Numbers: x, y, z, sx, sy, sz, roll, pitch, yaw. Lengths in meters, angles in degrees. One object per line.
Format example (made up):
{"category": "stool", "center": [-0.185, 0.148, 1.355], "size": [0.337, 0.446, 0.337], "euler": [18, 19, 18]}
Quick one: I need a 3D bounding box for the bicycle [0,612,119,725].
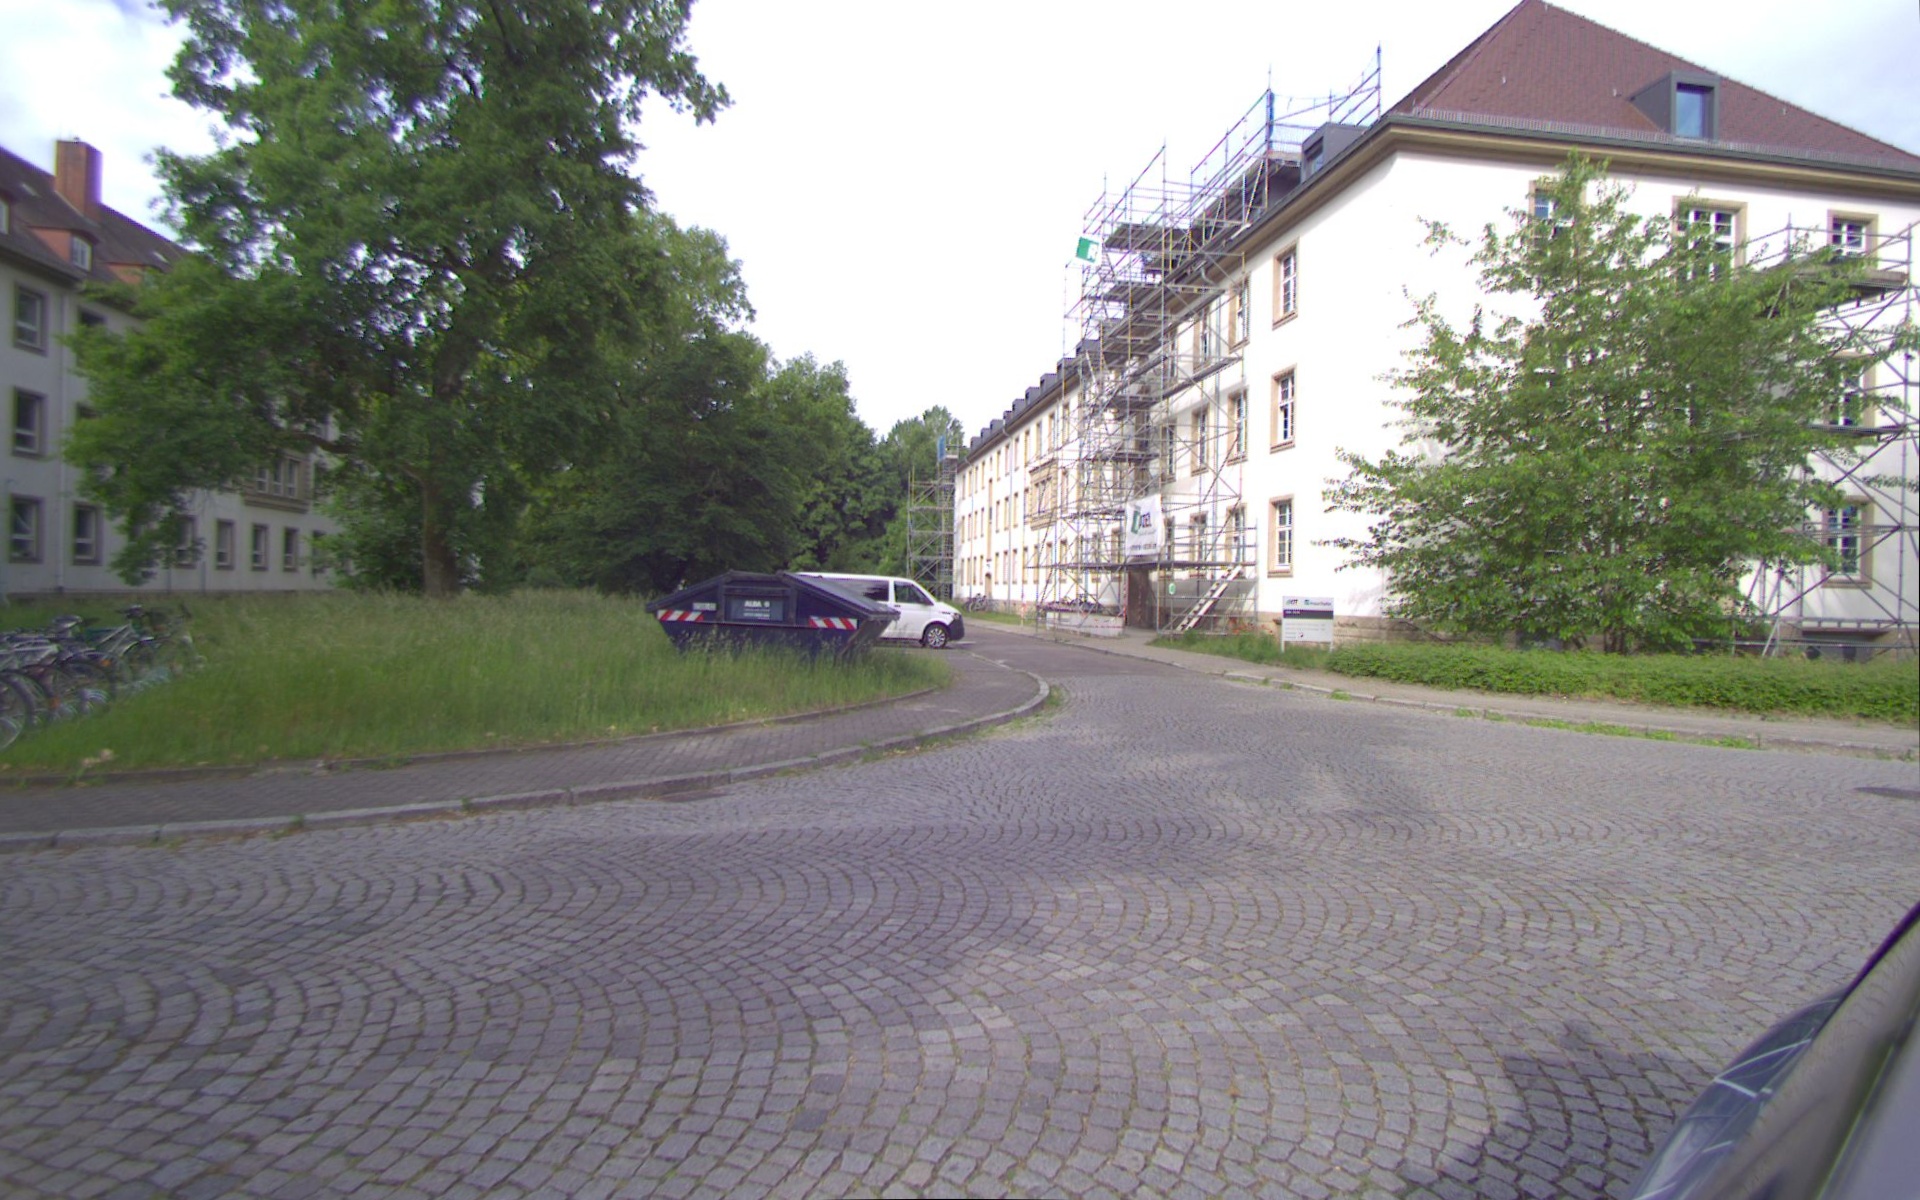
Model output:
{"category": "bicycle", "center": [-9.317, 0.661, 9.823], "size": [1.662, 1.013, 0.633], "euler": [-1, 3, -28]}

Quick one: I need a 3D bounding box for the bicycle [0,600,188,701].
{"category": "bicycle", "center": [-10.436, 0.582, 12.181], "size": [1.740, 1.118, 0.542], "euler": [-1, 3, -28]}

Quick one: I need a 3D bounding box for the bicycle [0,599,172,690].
{"category": "bicycle", "center": [-11.204, 0.543, 13.019], "size": [1.588, 1.072, 0.528], "euler": [-1, 3, -28]}

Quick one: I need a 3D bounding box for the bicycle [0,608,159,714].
{"category": "bicycle", "center": [-9.680, 0.620, 10.598], "size": [1.920, 1.017, 0.688], "euler": [-1, 3, -28]}

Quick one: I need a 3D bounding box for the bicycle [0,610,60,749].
{"category": "bicycle", "center": [-8.804, 0.678, 8.483], "size": [1.737, 1.117, 0.704], "euler": [-1, 3, -28]}

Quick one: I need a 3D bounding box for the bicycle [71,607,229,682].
{"category": "bicycle", "center": [-10.951, 0.578, 13.742], "size": [1.588, 0.922, 0.528], "euler": [-1, 3, -28]}

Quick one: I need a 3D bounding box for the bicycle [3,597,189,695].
{"category": "bicycle", "center": [-10.732, 0.546, 12.645], "size": [1.667, 1.130, 0.542], "euler": [-1, 3, -28]}

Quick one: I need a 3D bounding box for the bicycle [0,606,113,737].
{"category": "bicycle", "center": [-8.955, 0.649, 9.227], "size": [1.763, 1.117, 0.704], "euler": [-1, 3, -28]}

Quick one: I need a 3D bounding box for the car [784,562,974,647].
{"category": "car", "center": [-2.343, 0.140, 28.603], "size": [5.110, 2.086, 2.191], "euler": [2, -1, -9]}
